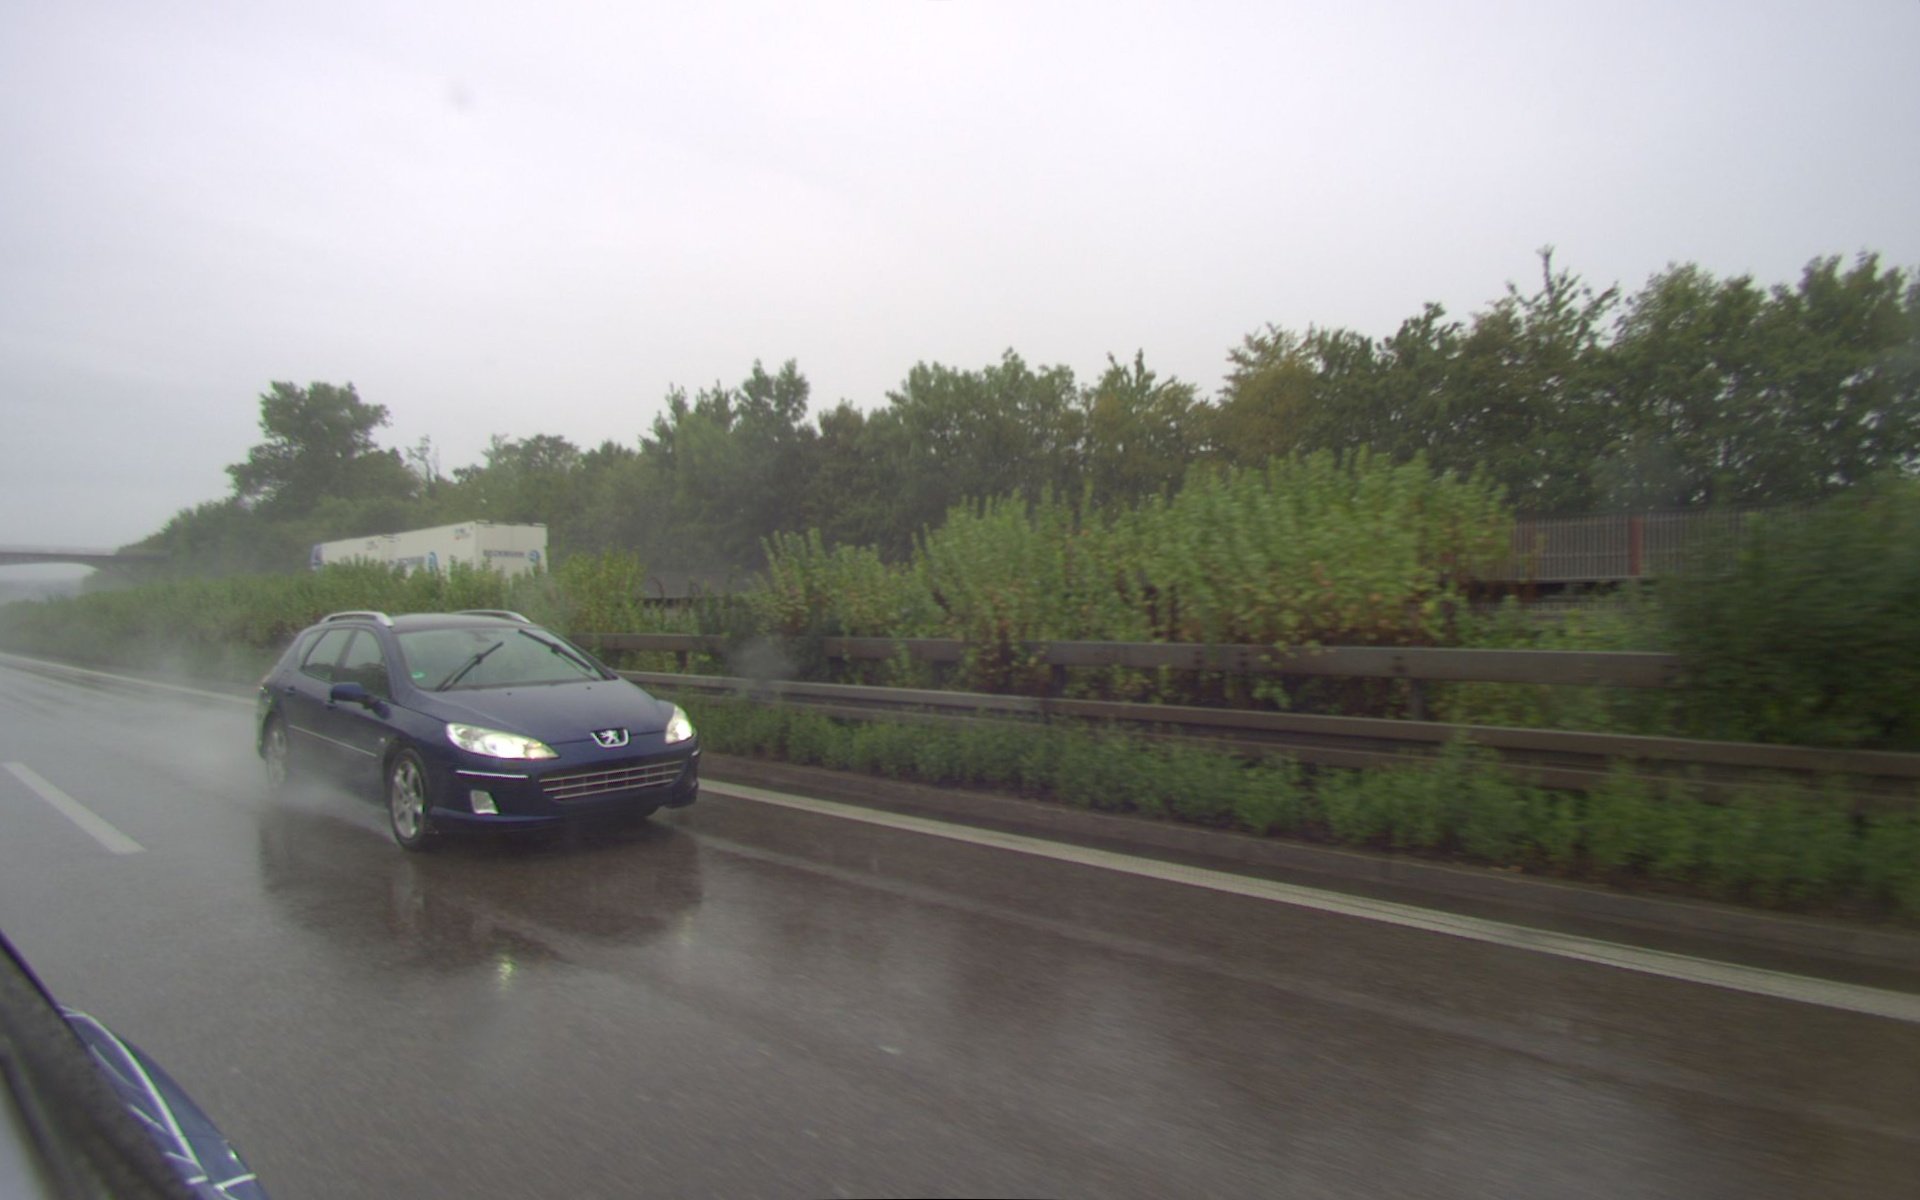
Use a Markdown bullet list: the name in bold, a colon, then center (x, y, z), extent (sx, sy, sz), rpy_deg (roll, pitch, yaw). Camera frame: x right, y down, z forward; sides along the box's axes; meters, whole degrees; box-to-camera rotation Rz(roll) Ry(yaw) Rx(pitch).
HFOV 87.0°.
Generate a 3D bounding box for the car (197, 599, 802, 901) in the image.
- **car**: center (-3.667, 0.784, 7.486), extent (5.153, 1.496, 2.034), rpy_deg (-1, 0, 40)

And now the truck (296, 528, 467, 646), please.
- **truck**: center (-25.724, -0.413, 44.765), extent (9.405, 4.674, 3.795), rpy_deg (-2, -1, 42)

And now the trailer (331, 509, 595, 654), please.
- **trailer**: center (-19.910, -0.515, 39.598), extent (15.019, 4.731, 3.829), rpy_deg (-1, 0, 41)
